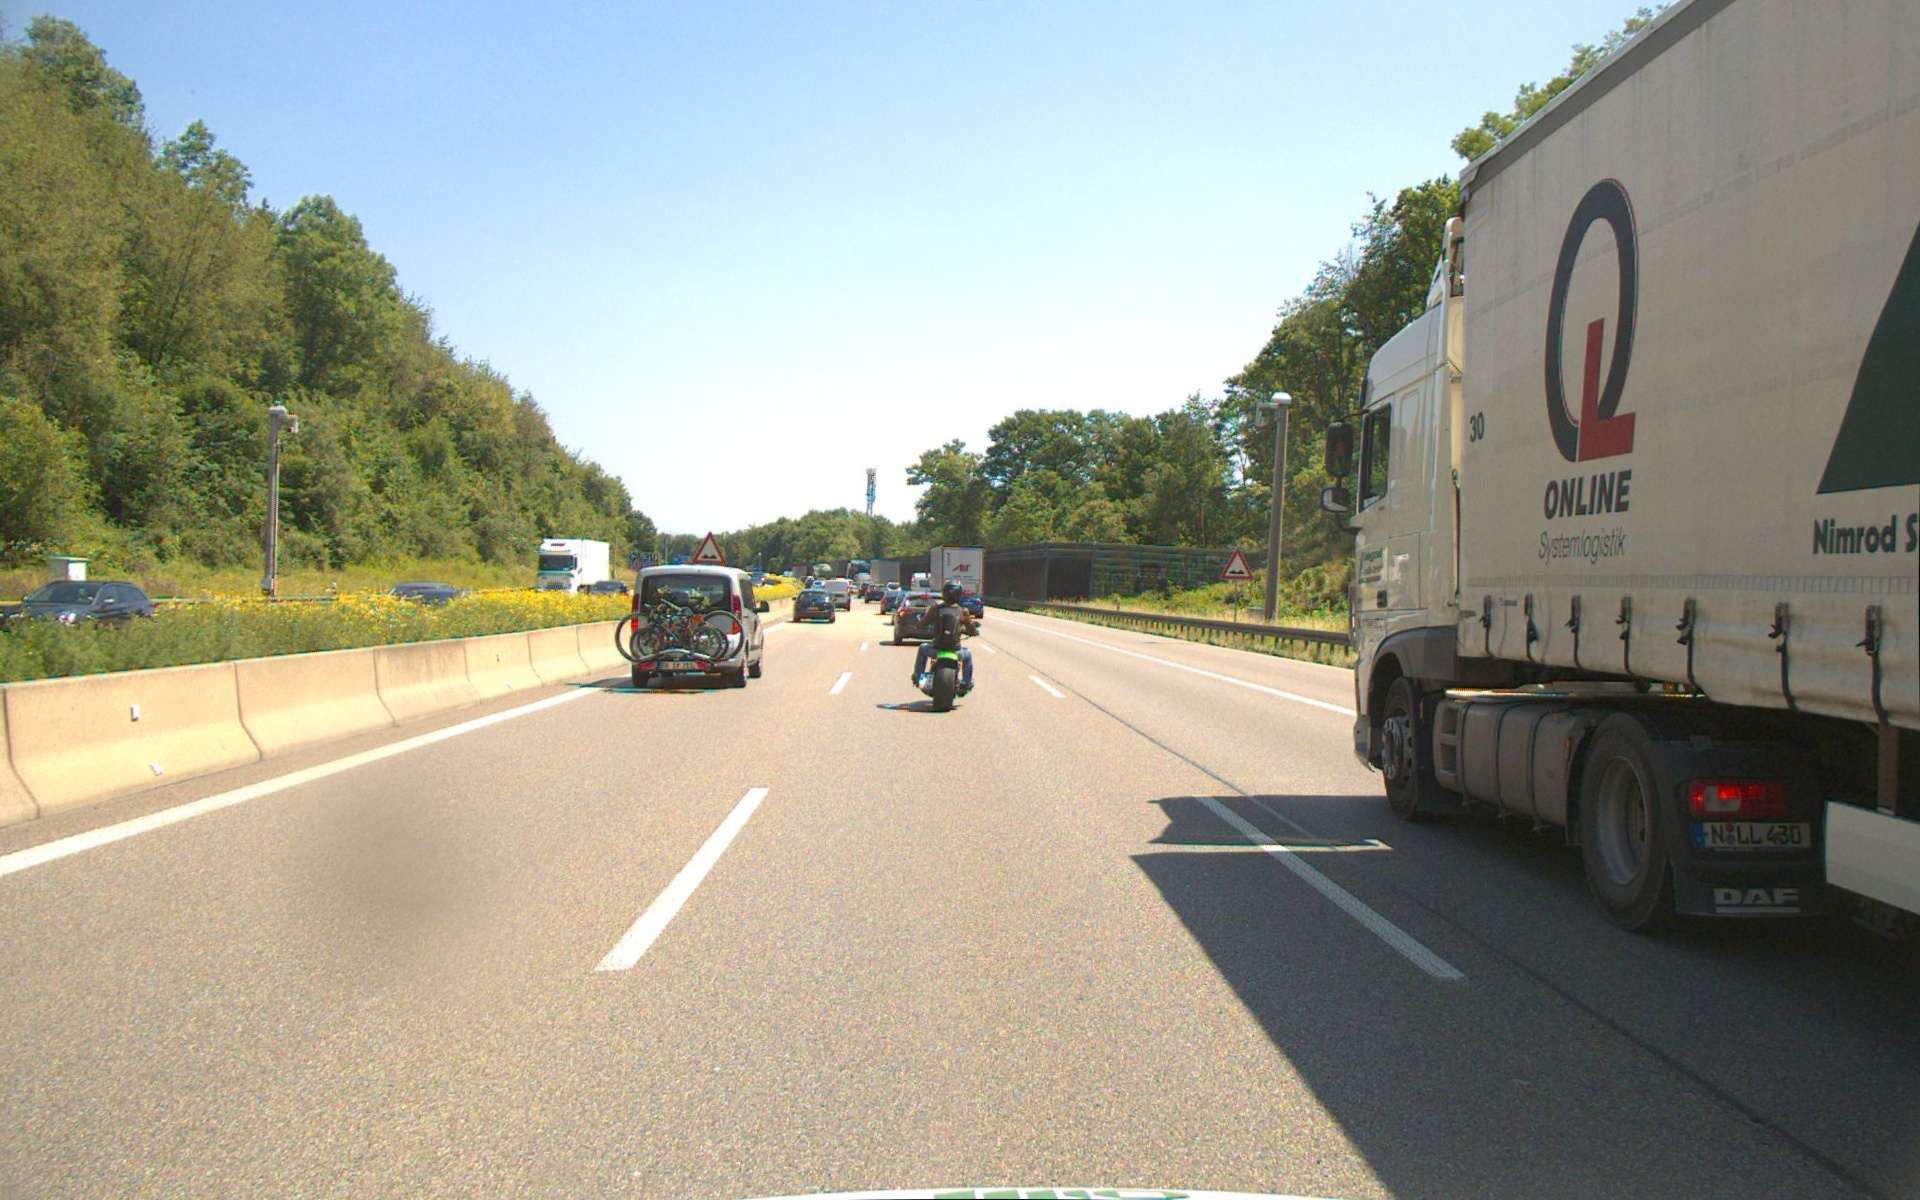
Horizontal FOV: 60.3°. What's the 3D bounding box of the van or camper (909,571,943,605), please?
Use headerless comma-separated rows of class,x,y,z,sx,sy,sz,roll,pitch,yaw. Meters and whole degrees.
van or camper,-2.995,-1.004,144.781,2.632,2.862,6.797,1,0,-4

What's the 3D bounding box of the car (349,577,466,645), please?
car,-15.261,0.288,45.919,1.953,1.758,3.999,1,0,-1

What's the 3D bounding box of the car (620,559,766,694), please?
car,-4.076,0.391,25.873,1.862,1.906,4.408,1,0,-5

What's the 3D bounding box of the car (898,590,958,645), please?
car,-0.961,0.493,47.618,1.629,1.478,3.867,1,0,-2

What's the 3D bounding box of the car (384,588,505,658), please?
car,-12.033,0.502,38.832,1.726,1.536,3.998,1,0,-3

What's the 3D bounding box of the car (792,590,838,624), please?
car,-6.317,0.300,72.114,1.955,1.411,3.996,1,0,-5

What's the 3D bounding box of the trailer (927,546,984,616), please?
trailer,-0.375,-1.201,104.903,2.828,4.109,13.787,1,1,-3

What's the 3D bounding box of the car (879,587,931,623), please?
car,-2.372,0.221,70.790,1.955,1.455,3.842,1,0,-6

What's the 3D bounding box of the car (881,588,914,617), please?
car,-3.549,0.161,93.894,1.744,1.579,3.582,1,0,-4

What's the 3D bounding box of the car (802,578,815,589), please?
car,-21.411,-2.334,233.261,1.797,1.522,3.738,1,0,-6

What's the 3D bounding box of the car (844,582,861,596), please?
car,-12.080,-1.256,185.322,1.797,1.522,3.739,1,0,-6

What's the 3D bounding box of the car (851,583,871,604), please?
car,-9.954,-0.646,166.305,1.874,2.049,3.686,1,0,-6

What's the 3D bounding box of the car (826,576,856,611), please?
car,-7.343,-0.381,102.379,1.756,2.049,3.640,1,0,-3

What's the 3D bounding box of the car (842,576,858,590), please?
car,-15.718,-2.469,236.728,2.068,1.909,3.993,1,0,-7

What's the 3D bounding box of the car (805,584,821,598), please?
car,-17.224,-1.066,193.306,1.797,1.522,3.739,1,0,-6

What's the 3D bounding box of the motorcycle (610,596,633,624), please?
motorcycle,-12.913,0.371,63.136,0.611,1.051,1.466,1,0,-2

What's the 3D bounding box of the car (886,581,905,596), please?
car,-7.323,-1.262,187.238,1.954,1.601,3.996,1,0,-5

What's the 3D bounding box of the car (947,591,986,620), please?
car,0.327,0.299,90.065,1.619,1.508,4.475,1,0,-7

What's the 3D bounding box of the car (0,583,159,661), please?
car,-19.059,0.426,35.458,1.953,1.534,3.998,0,1,-3

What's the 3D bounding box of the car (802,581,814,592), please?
car,-23.559,-2.111,256.180,1.803,1.658,3.997,1,0,-4

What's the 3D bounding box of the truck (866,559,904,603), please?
truck,-9.109,-2.262,199.120,3.731,5.046,8.934,1,0,-8

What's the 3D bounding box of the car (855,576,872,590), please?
car,-13.494,-2.340,231.289,2.068,1.909,3.993,1,0,-7

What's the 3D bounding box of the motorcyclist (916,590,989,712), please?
motorcyclist,-0.100,0.638,21.388,0.881,1.500,1.872,1,0,0

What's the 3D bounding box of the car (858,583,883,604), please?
car,-7.523,-0.516,139.351,1.955,1.668,3.995,1,0,-5

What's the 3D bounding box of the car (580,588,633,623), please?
car,-17.589,0.241,82.471,1.910,1.670,3.978,1,0,-3

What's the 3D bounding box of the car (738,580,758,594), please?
car,-23.751,-1.461,185.384,1.954,1.512,3.998,1,0,-3

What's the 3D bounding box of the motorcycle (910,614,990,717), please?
motorcycle,-0.132,0.804,21.433,0.945,1.168,2.811,2,1,-1

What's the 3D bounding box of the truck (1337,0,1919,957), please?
truck,4.400,-0.636,10.114,2.729,4.278,5.869,1,1,0

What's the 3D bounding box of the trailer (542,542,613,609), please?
trailer,-26.446,-1.566,115.044,2.661,4.281,13.920,1,0,-4

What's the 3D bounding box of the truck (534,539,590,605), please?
truck,-25.984,-1.756,108.131,2.637,4.161,5.199,1,0,-4

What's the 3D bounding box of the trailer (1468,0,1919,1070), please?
trailer,4.457,-0.576,3.234,2.729,4.278,13.244,1,1,0

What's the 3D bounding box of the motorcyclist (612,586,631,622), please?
motorcyclist,-12.906,0.155,63.107,0.610,1.357,0.577,1,0,-3
